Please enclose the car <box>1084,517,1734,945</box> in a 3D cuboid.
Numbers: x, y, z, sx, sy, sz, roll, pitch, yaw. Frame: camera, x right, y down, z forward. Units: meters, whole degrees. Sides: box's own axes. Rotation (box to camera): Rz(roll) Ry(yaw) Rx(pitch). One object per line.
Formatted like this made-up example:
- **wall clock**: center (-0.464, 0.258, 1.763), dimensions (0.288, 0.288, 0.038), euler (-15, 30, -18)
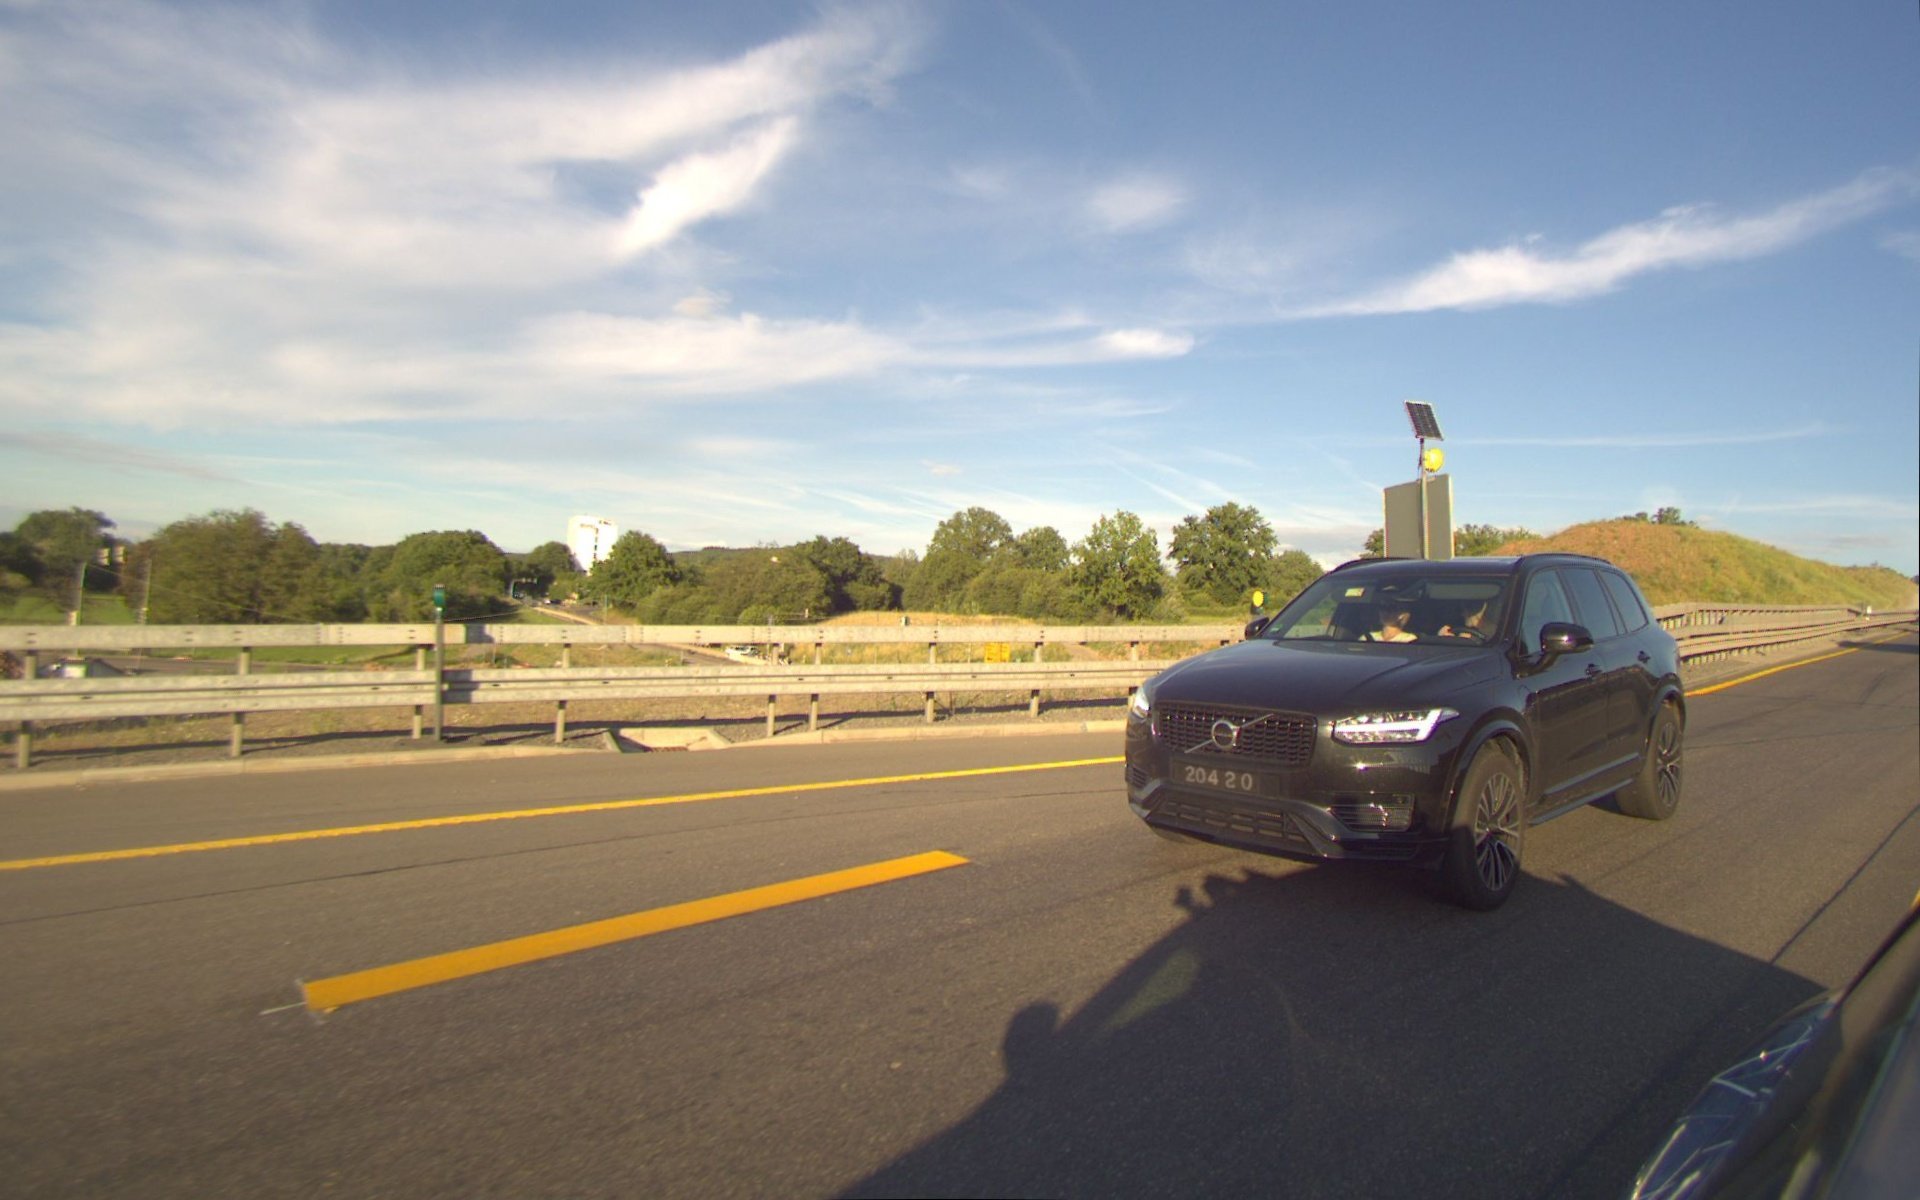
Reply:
- **car**: center (3.110, 0.518, 6.404), dimensions (4.801, 1.735, 1.901), euler (0, 0, -41)
